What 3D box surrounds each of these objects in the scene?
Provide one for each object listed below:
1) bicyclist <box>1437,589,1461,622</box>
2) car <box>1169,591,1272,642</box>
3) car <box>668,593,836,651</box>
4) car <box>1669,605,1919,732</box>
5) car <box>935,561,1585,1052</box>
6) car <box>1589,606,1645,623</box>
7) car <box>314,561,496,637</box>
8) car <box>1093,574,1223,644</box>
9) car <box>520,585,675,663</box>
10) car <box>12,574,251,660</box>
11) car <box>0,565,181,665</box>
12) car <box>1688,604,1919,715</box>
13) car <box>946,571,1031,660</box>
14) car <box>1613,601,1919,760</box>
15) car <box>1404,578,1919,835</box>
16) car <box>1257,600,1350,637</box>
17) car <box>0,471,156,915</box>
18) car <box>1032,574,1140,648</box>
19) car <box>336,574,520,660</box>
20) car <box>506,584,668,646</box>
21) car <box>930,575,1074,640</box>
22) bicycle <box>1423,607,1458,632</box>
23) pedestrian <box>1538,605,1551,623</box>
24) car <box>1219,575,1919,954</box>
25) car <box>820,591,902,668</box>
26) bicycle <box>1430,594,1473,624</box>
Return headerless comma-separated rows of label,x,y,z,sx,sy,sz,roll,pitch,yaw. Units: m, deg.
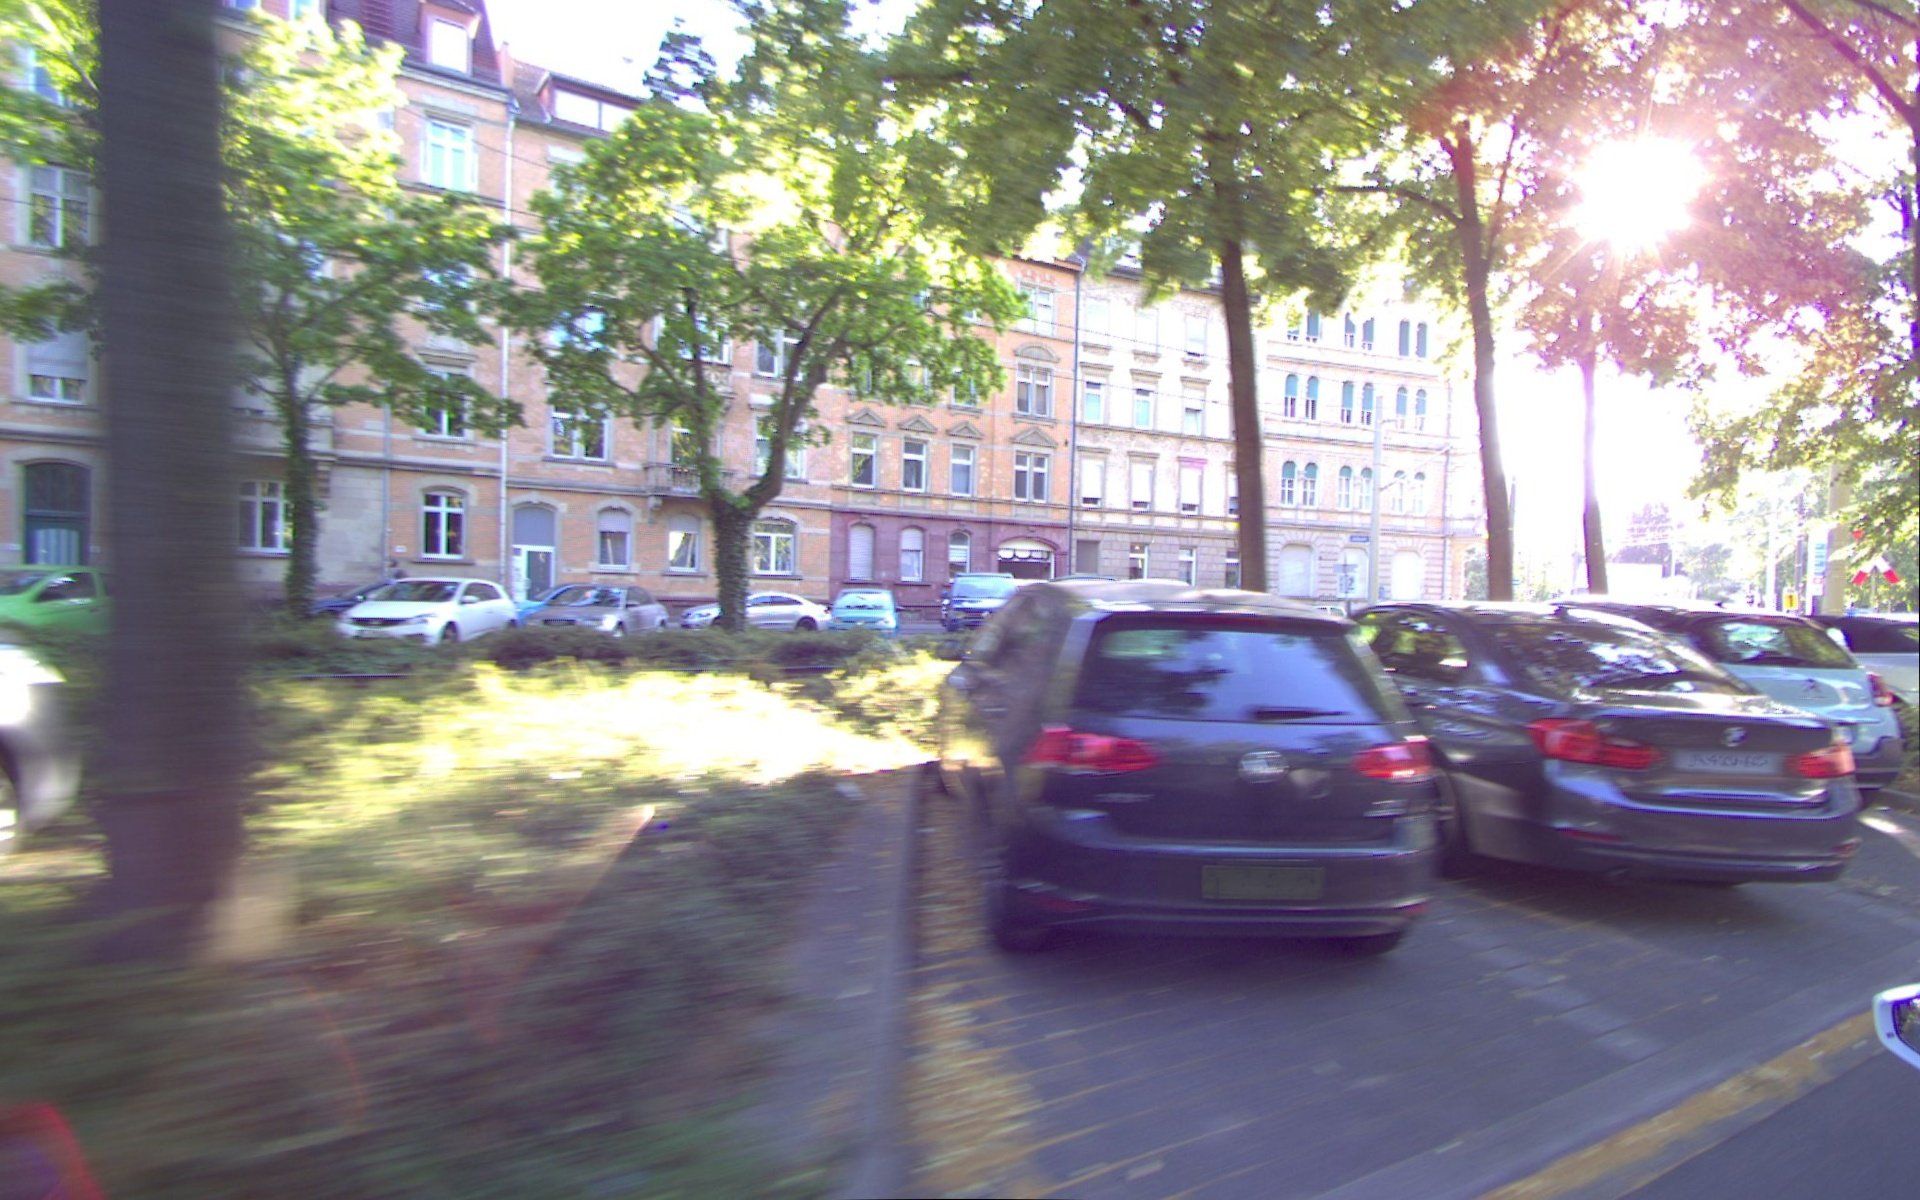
bicyclist,24.490,0.266,50.304,0.693,1.510,0.590,7,3,-24
car,7.553,0.448,29.476,1.685,1.347,3.629,1,0,-7
car,-6.342,0.632,30.823,4.720,1.562,1.840,0,4,-33
car,12.356,0.901,13.805,1.745,1.424,4.027,2,2,-15
car,0.912,0.605,5.091,1.797,1.458,3.868,3,3,-5
car,64.861,1.435,99.128,4.423,1.507,1.771,1,0,41
car,-14.186,-0.004,25.740,3.957,1.799,1.783,1,0,-33
car,5.511,0.228,28.708,2.047,1.788,5.051,1,0,-9
car,-7.253,0.443,20.566,1.562,1.399,4.289,1,0,1
car,-18.528,0.381,22.724,3.957,1.799,1.783,1,0,-33
car,-14.449,0.189,15.748,1.675,1.399,3.737,1,0,-3
car,14.218,0.902,15.842,1.744,1.449,4.282,2,2,-13
car,0.712,0.371,25.622,1.960,2.040,4.000,1,0,1
car,10.161,0.855,11.823,1.745,1.383,3.972,2,3,-14
car,5.642,0.670,8.504,1.797,1.514,3.881,3,3,-3
car,14.771,0.782,43.253,3.447,1.448,1.845,1,3,-25
car,-4.438,0.376,2.221,1.904,1.648,4.356,3,3,-2
car,3.266,0.264,26.999,2.045,1.788,4.834,1,0,-3
car,-9.755,0.280,18.752,1.694,1.399,3.735,1,0,-5
car,-10.509,0.390,28.357,4.015,1.539,1.840,0,4,-33
car,1.544,0.246,35.789,4.946,2.091,1.840,0,4,-33
bicycle,25.004,1.034,52.256,1.766,1.222,0.500,1,3,-22
pedestrian,57.988,1.382,99.690,0.911,1.715,0.777,2,1,21
car,3.269,0.677,6.388,1.797,1.458,4.196,3,3,-5
car,-2.285,0.650,24.012,1.628,1.662,3.650,1,0,-1
bicycle,24.685,0.455,50.465,2.096,1.147,0.500,8,3,-22
